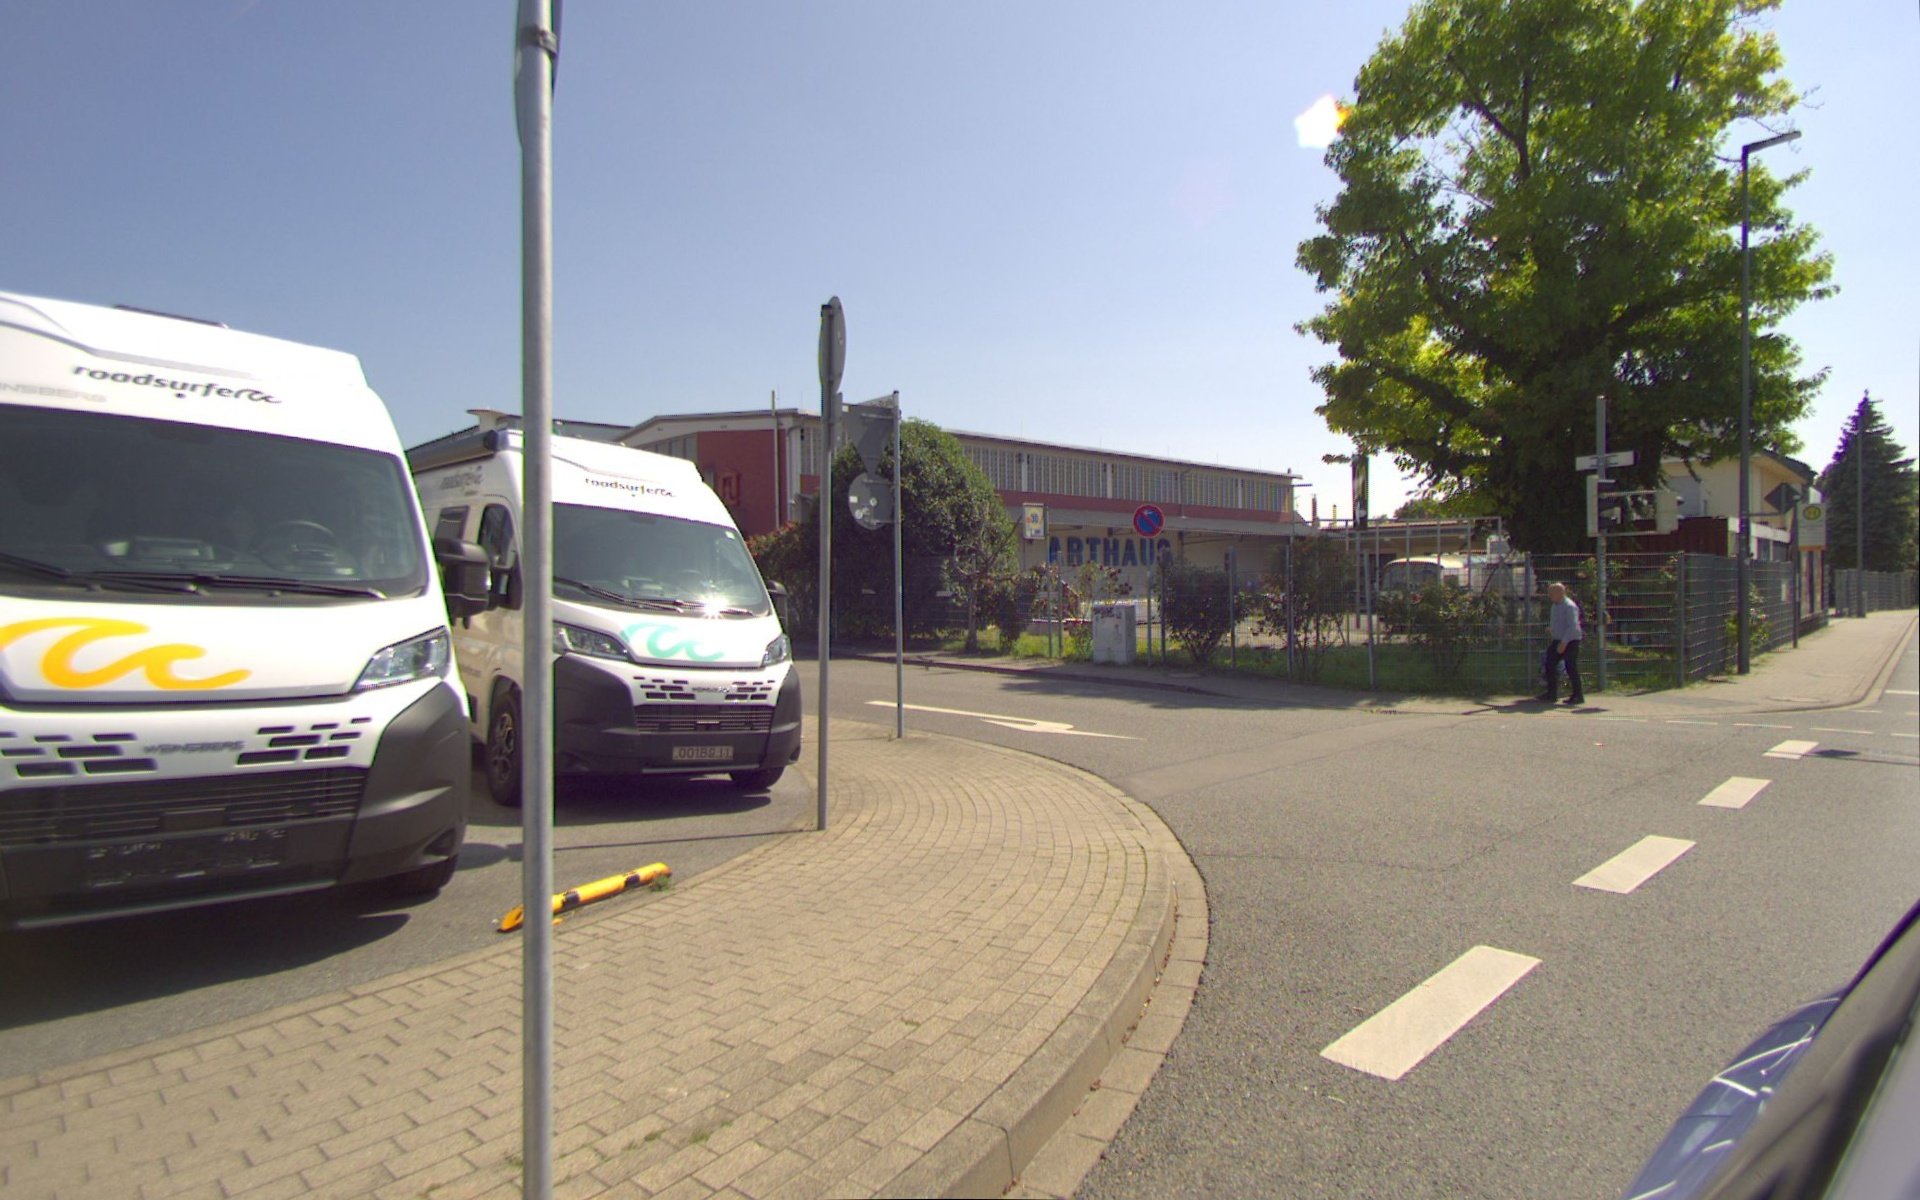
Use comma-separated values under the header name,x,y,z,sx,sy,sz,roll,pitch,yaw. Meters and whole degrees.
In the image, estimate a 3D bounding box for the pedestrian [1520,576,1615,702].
name,x,y,z,sx,sy,sz,roll,pitch,yaw
pedestrian,8.553,0.519,14.283,0.872,1.720,0.813,1,1,9

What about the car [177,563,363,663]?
name,x,y,z,sx,sy,sz,roll,pitch,yaw
car,-11.953,0.203,17.449,3.881,1.535,1.788,1,-2,43

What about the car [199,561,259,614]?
name,x,y,z,sx,sy,sz,roll,pitch,yaw
car,-37.209,-0.642,51.451,2.074,2.558,5.598,-1,1,-40

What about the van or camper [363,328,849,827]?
name,x,y,z,sx,sy,sz,roll,pitch,yaw
van or camper,-3.332,-0.112,8.548,2.011,2.850,5.516,2,-1,-40

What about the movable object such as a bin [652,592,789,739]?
name,x,y,z,sx,sy,sz,roll,pitch,yaw
movable object such as a bin,-2.612,0.671,10.977,1.058,1.476,1.257,2,-1,-32

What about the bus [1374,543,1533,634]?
name,x,y,z,sx,sy,sz,roll,pitch,yaw
bus,20.351,-0.633,41.289,10.104,3.210,2.567,-4,3,-44

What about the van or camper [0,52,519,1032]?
name,x,y,z,sx,sy,sz,roll,pitch,yaw
van or camper,-4.382,-0.216,5.354,2.054,2.809,5.820,1,1,-41
